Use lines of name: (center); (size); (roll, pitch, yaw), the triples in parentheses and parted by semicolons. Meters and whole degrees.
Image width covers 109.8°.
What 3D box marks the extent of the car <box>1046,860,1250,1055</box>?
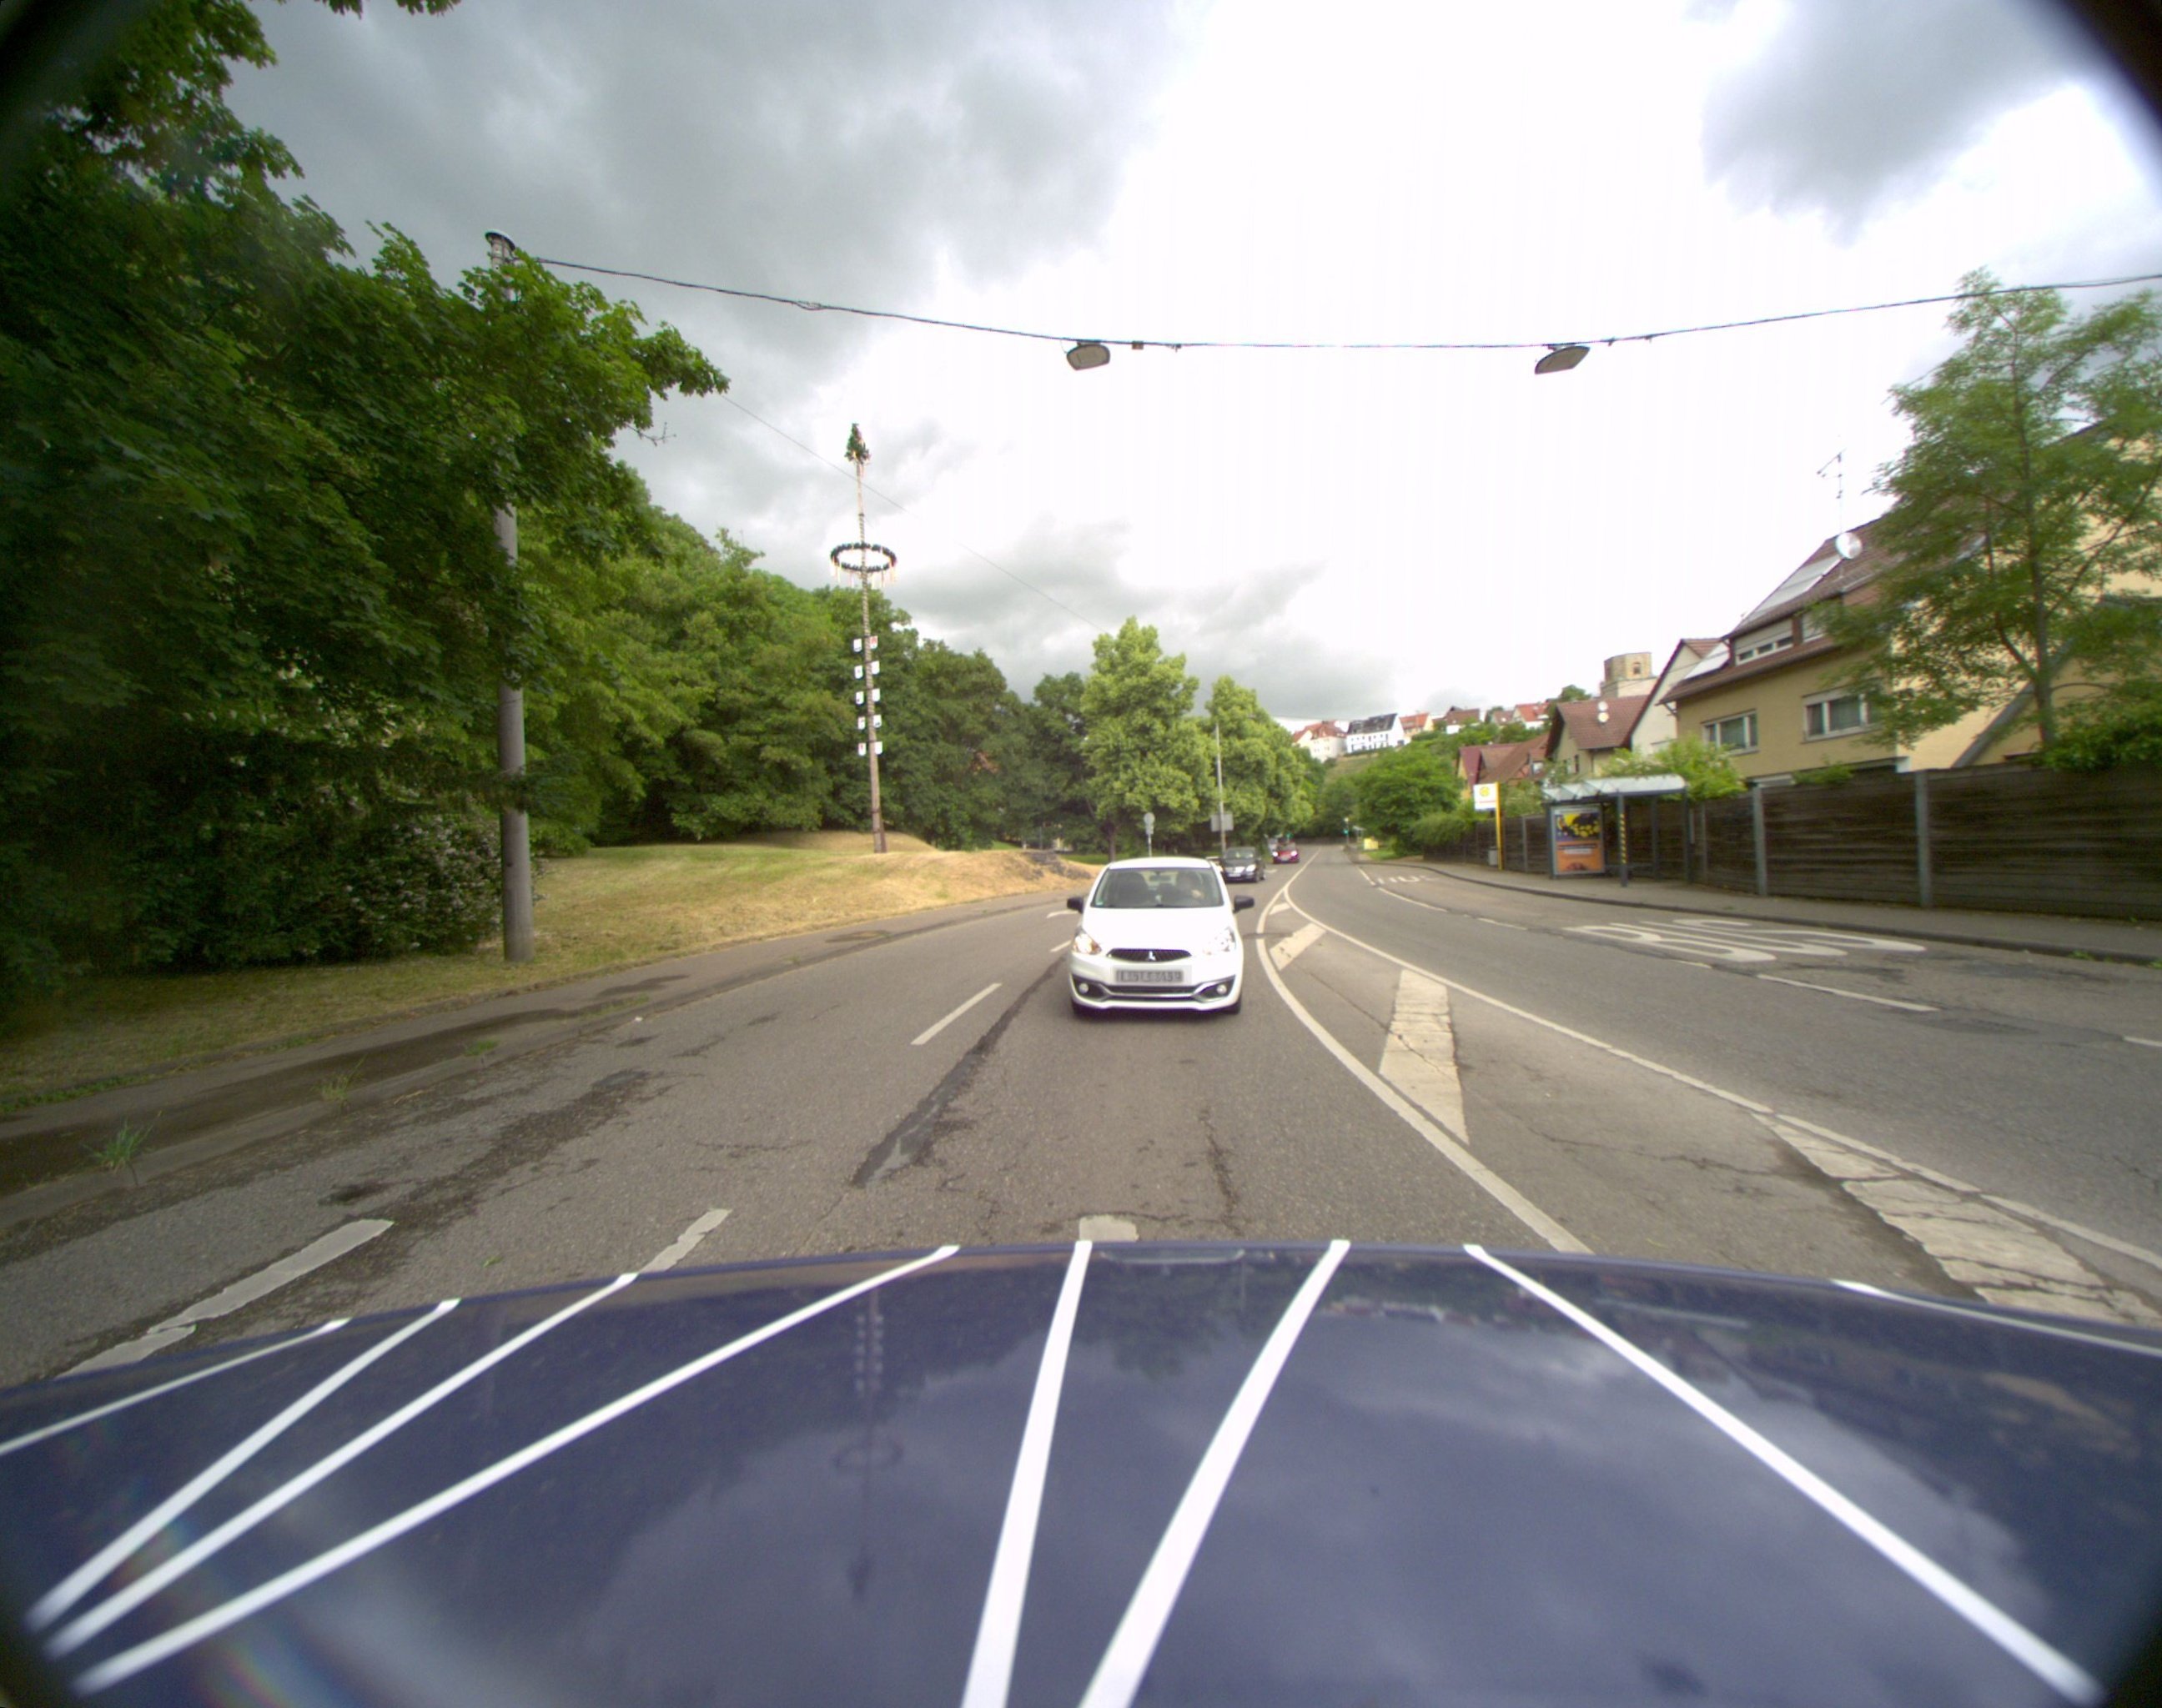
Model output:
car: (0.818, 0.885, 8.050); (1.617, 1.505, 3.607); (-2, 1, 9)

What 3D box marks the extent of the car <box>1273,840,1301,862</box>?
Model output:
car: (16.560, -0.274, 60.944); (1.825, 1.662, 4.063); (-2, 1, 19)

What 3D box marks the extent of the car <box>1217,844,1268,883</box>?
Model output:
car: (7.208, 0.365, 33.609); (1.722, 1.539, 3.786); (-2, 1, 19)
